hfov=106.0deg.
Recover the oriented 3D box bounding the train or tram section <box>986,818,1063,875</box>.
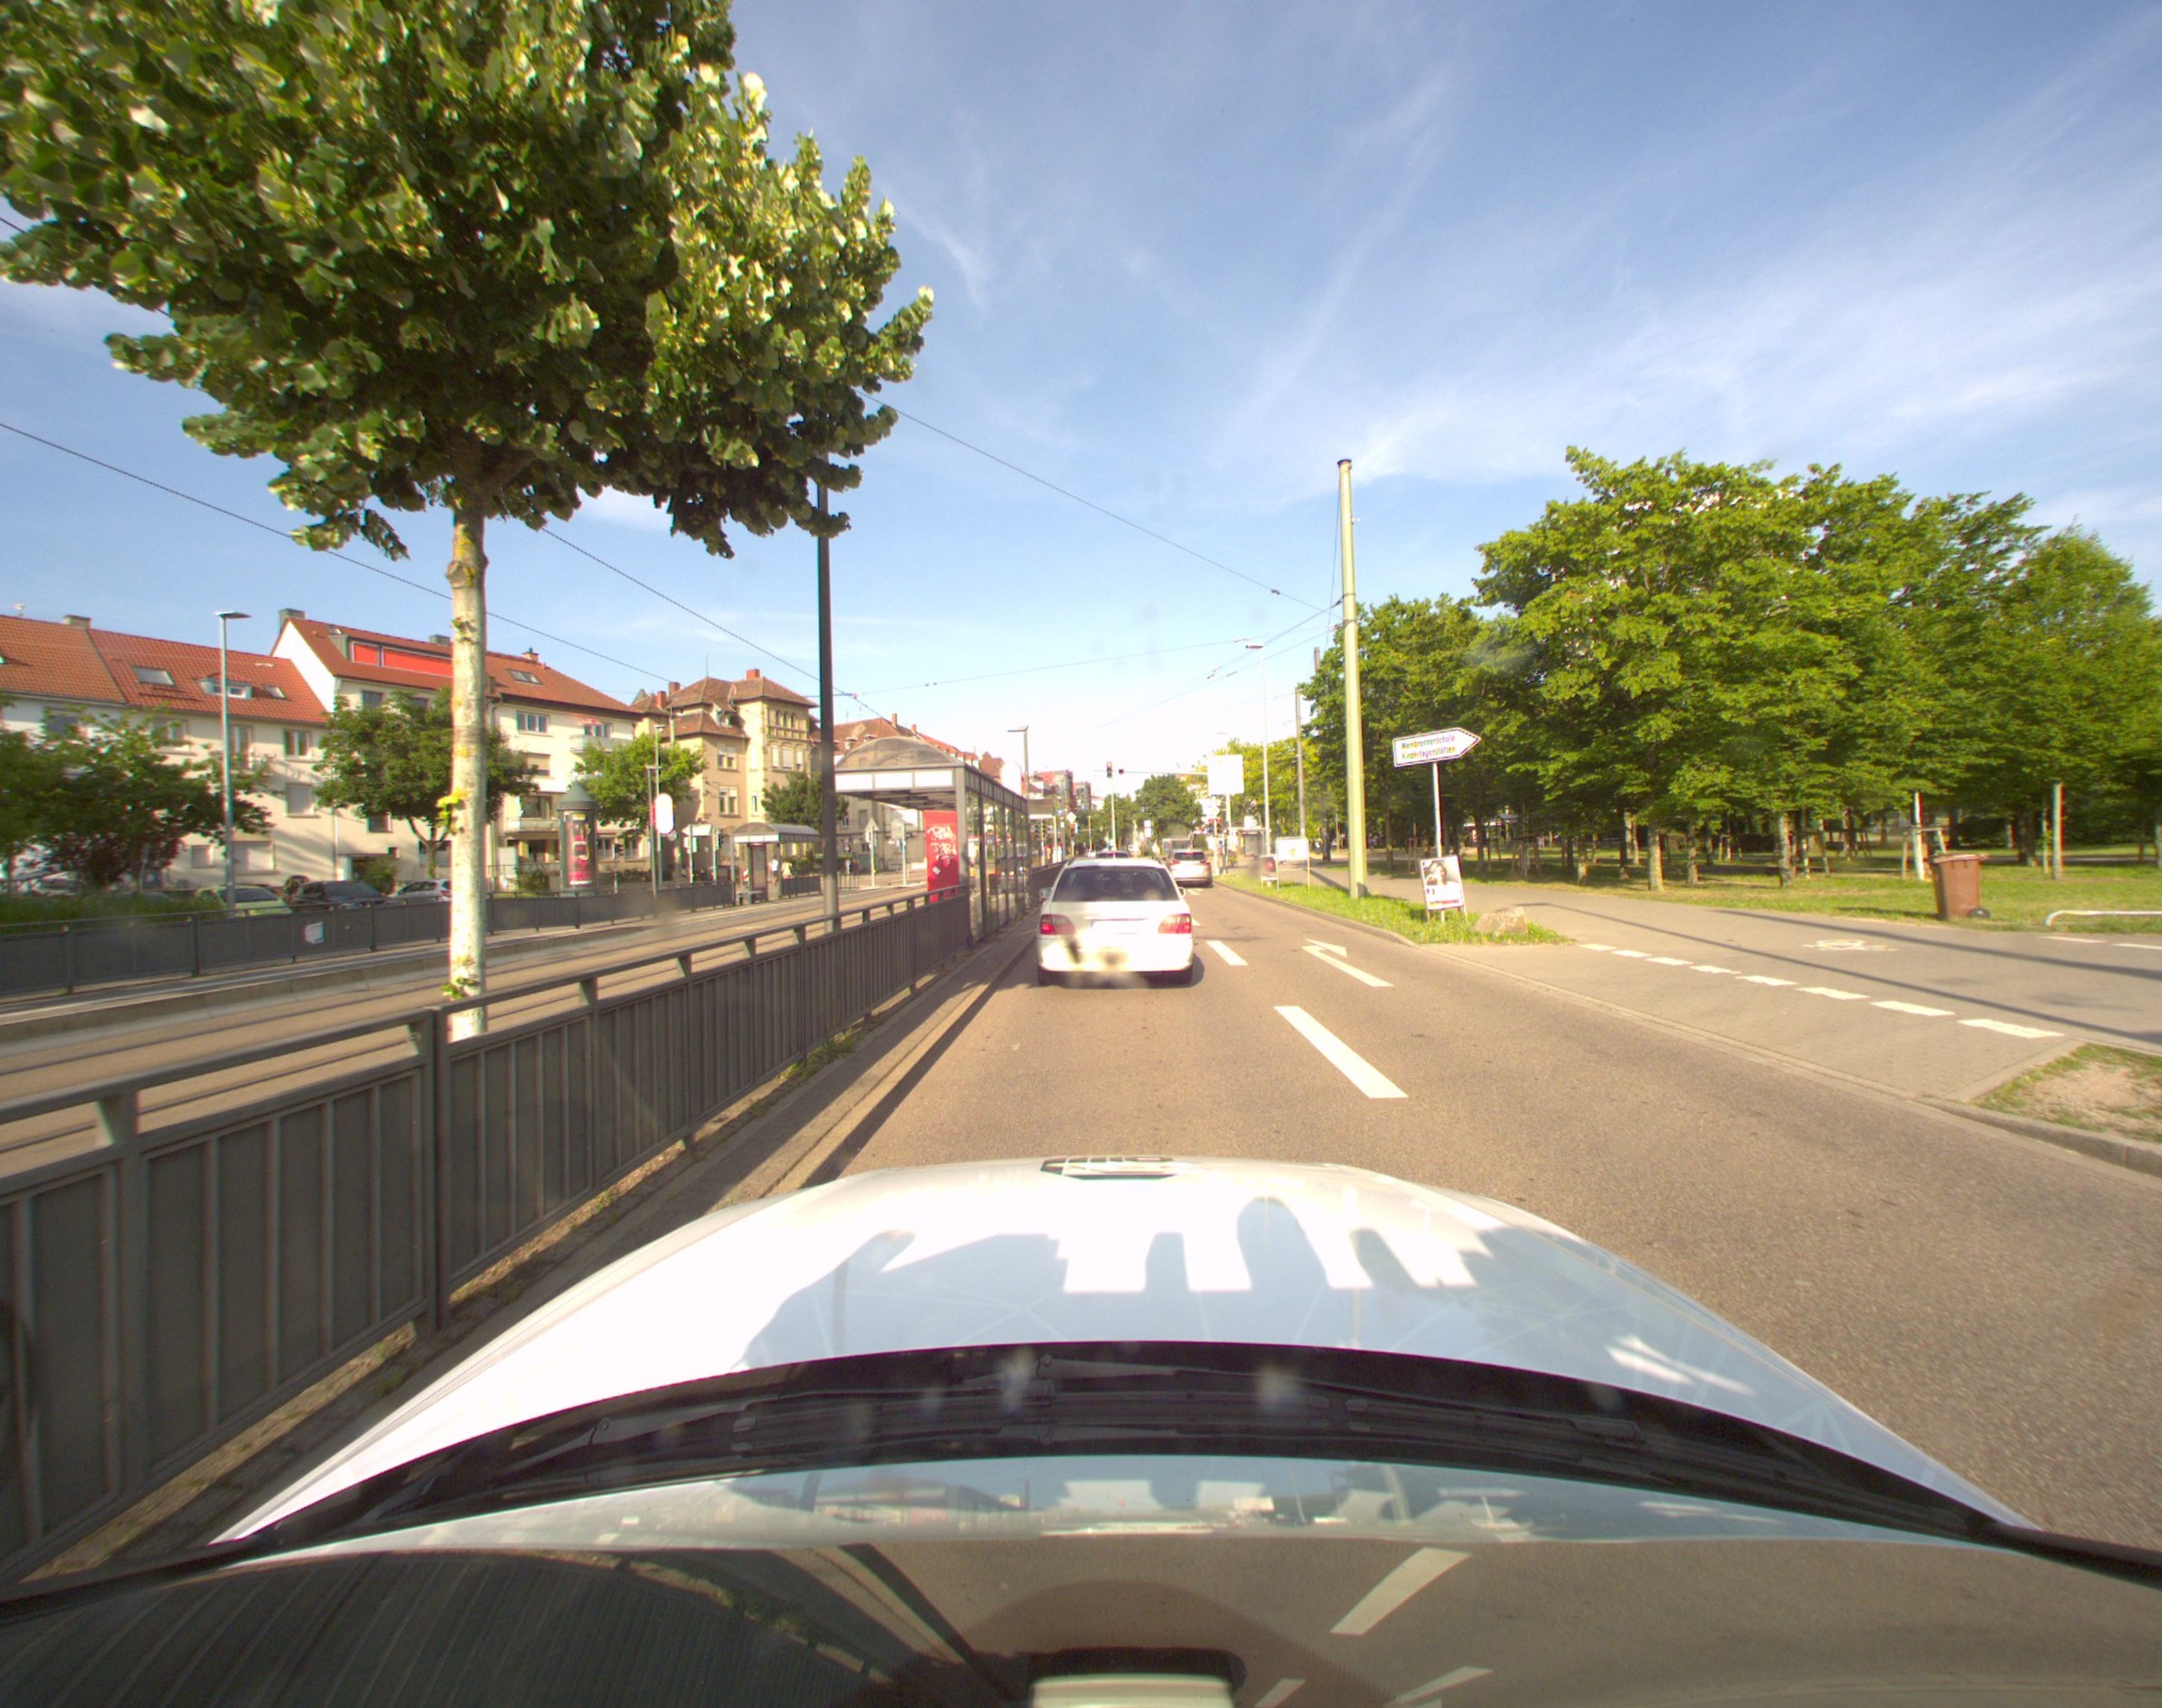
[{"bbox_3d":[-3.604,-0.553,56.609,2.834,3.479,13.225,-1,1,7],"label":"train or tram section"}]

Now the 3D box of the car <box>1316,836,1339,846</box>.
[{"bbox_3d":[44.230,-2.325,146.046,3.956,1.651,2.009,-2,0,16],"label":"car"}]

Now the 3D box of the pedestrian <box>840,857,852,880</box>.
[{"bbox_3d":[-18.283,1.087,63.381,0.662,1.753,0.747,-1,0,6],"label":"pedestrian"}]

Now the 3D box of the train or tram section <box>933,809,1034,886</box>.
[{"bbox_3d":[-4.816,-0.387,43.631,2.837,3.479,13.216,-1,1,4],"label":"train or tram section"}]

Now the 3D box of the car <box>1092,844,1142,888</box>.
[{"bbox_3d":[1.580,0.449,34.181,1.778,1.689,4.008,-1,1,6],"label":"car"}]

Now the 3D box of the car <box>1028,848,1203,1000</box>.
[{"bbox_3d":[0.369,0.708,10.430,1.752,1.503,4.000,-2,0,0],"label":"car"}]

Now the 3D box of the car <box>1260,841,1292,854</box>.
[{"bbox_3d":[27.145,-0.958,113.370,3.949,1.651,2.012,-2,0,27],"label":"car"}]

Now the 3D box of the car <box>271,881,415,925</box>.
[{"bbox_3d":[-26.441,1.738,29.229,3.956,1.398,2.009,-1,1,16],"label":"car"}]

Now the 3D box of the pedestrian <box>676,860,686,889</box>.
[{"bbox_3d":[-27.765,1.431,56.497,0.379,2.013,0.410,-1,0,20],"label":"pedestrian"}]

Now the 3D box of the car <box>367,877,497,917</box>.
[{"bbox_3d":[-25.443,1.670,31.974,3.956,1.398,2.009,-1,1,16],"label":"car"}]

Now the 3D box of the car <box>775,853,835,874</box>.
[{"bbox_3d":[-23.842,0.794,70.601,2.183,1.628,4.744,-1,1,25],"label":"car"}]

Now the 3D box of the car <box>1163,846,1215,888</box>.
[{"bbox_3d":[4.537,0.489,34.533,2.023,1.605,4.007,-1,1,6],"label":"car"}]

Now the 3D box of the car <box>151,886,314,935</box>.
[{"bbox_3d":[-27.707,1.820,26.642,3.957,1.398,2.008,-1,1,15],"label":"car"}]

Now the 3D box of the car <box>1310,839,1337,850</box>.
[{"bbox_3d":[41.834,-1.630,140.478,4.006,1.651,1.984,-3,0,-25],"label":"car"}]

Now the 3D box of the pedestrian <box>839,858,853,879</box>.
[{"bbox_3d":[-20.333,1.227,70.568,0.882,1.753,0.747,-1,0,6],"label":"pedestrian"}]

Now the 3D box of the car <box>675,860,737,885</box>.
[{"bbox_3d":[-28.465,1.426,61.891,3.954,1.750,2.010,-1,1,19],"label":"car"}]

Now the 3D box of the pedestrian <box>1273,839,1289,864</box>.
[{"bbox_3d":[13.131,-0.175,53.478,0.881,1.652,0.748,-1,0,10],"label":"pedestrian"}]

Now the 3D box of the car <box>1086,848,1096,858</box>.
[{"bbox_3d":[2.171,-0.313,175.172,1.986,2.013,4.002,-2,0,2],"label":"car"}]

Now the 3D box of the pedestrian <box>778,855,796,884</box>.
[{"bbox_3d":[-18.225,0.968,50.536,0.886,1.753,0.743,-2,0,-9],"label":"pedestrian"}]

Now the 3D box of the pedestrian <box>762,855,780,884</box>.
[{"bbox_3d":[-19.176,0.956,50.398,0.886,1.753,0.743,-2,0,-9],"label":"pedestrian"}]
